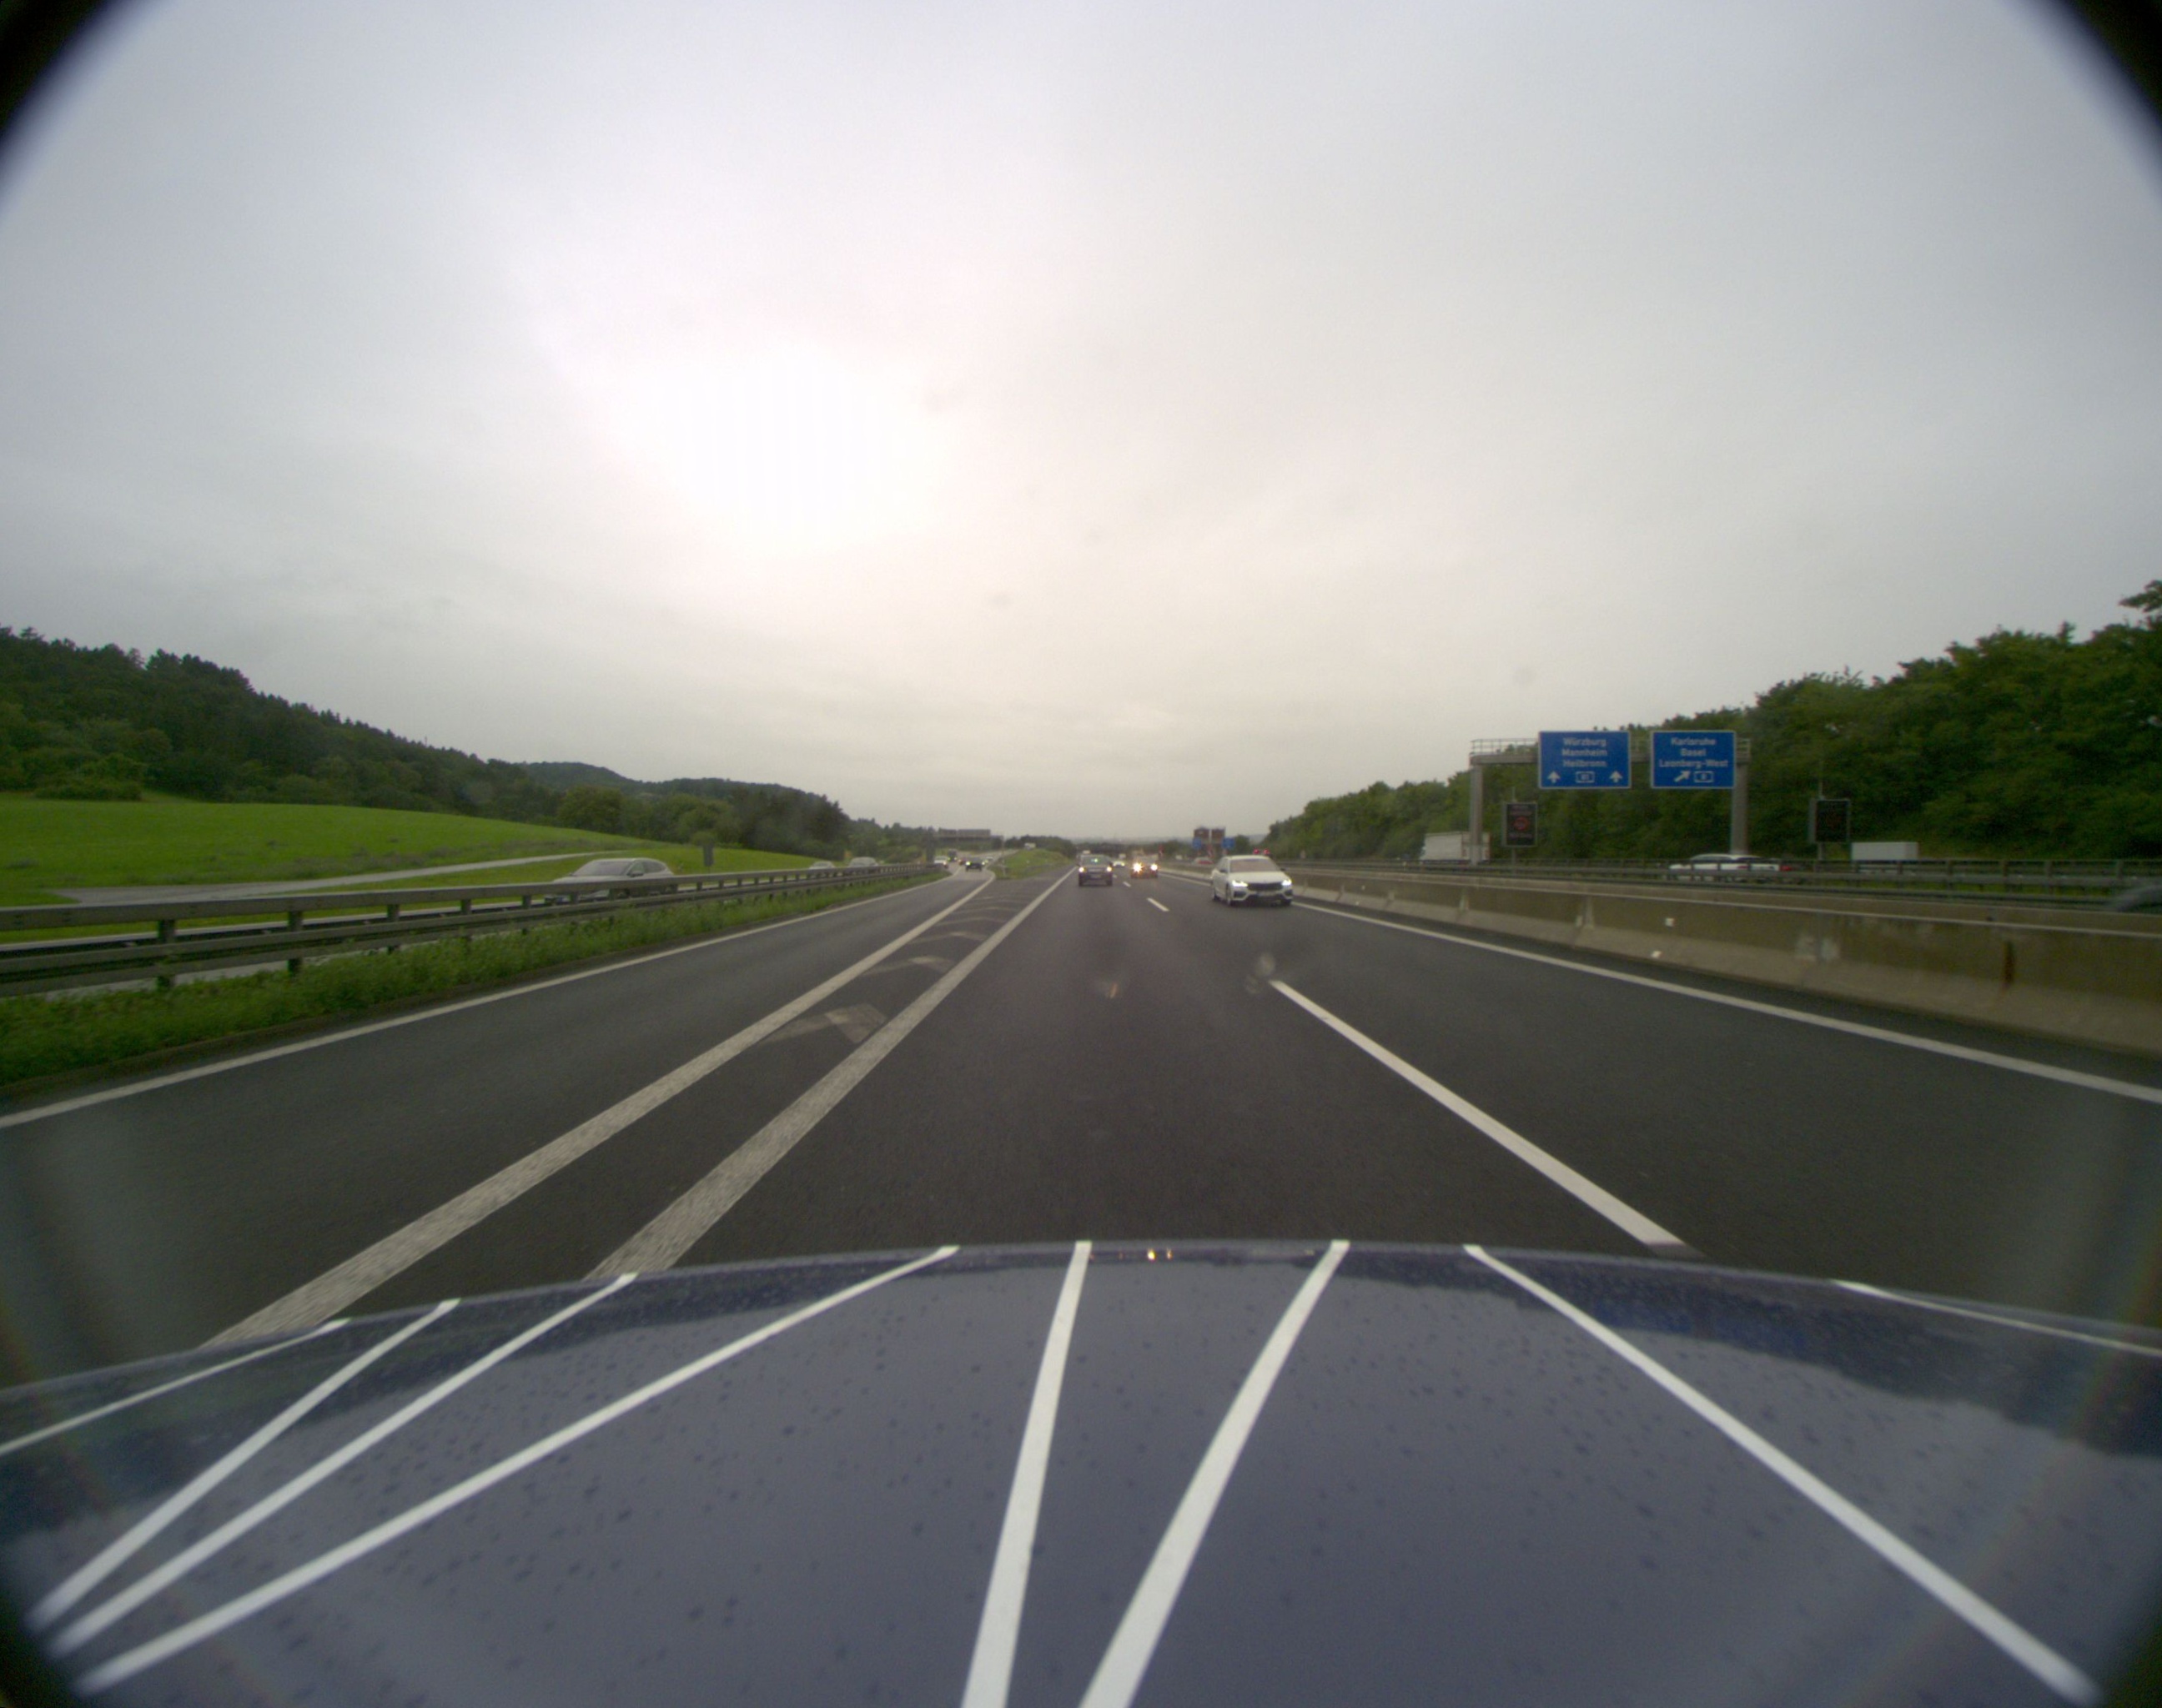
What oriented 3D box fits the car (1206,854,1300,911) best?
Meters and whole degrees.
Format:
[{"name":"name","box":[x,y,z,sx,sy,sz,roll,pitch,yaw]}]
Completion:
[{"name":"car","box":[5.085,0.774,23.133,1.823,1.448,4.777,-2,1,1]}]

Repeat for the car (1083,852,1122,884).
[{"name":"car","box":[1.109,0.730,40.963,1.813,1.571,3.834,-2,1,-2]}]

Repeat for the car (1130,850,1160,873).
[{"name":"car","box":[4.500,0.498,53.954,1.726,1.481,4.566,-2,1,0]}]

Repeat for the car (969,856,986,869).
[{"name":"car","box":[-12.553,1.012,92.011,1.868,1.349,4.563,-2,1,-8]}]

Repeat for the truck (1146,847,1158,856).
[{"name":"truck","box":[18.901,-0.768,203.151,2.582,2.327,7.341,-2,1,1]}]

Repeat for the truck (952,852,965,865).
[{"name":"truck","box":[-38.261,1.234,237.573,2.799,3.878,10.023,-2,1,-4]}]

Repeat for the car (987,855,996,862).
[{"name":"car","box":[-21.634,1.033,183.006,1.914,1.684,4.716,-2,1,-4]}]

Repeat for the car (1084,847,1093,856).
[{"name":"car","box":[1.763,-0.656,181.087,2.016,1.994,4.566,-2,1,-1]}]

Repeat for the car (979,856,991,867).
[{"name":"car","box":[-16.926,1.331,133.909,1.914,1.684,4.716,-2,1,-4]}]

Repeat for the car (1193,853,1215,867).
[{"name":"car","box":[13.718,0.619,84.702,1.760,1.448,4.417,-2,1,1]}]

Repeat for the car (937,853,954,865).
[{"name":"car","box":[-20.300,0.678,113.990,1.914,1.684,4.716,-2,1,-5]}]

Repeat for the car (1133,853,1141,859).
[{"name":"car","box":[15.468,0.483,211.069,1.875,1.672,4.777,-2,1,-1]}]

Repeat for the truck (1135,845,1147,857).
[{"name":"truck","box":[20.640,-0.938,260.233,2.934,3.855,16.088,-2,1,1]}]

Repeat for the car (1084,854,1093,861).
[{"name":"car","box":[1.756,0.852,174.548,1.919,1.481,4.566,-2,1,-1]}]

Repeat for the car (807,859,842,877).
[{"name":"car","box":[-23.650,1.260,70.178,1.904,1.446,4.708,-2,1,-4]}]

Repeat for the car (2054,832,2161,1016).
[{"name":"car","box":[12.896,0.768,6.809,1.998,2.002,4.982,-2,1,1]}]

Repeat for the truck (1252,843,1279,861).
[{"name":"truck","box":[33.930,-0.420,140.246,2.858,3.202,9.078,-2,1,1]}]

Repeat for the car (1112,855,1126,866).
[{"name":"car","box":[5.467,0.945,109.628,1.726,1.481,4.566,-2,1,0]}]

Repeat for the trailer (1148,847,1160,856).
[{"name":"trailer","box":[18.774,-0.695,195.618,2.582,2.327,7.946,-2,1,1]}]

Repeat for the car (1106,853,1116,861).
[{"name":"car","box":[5.909,0.489,149.767,1.726,1.481,4.566,-2,1,-1]}]

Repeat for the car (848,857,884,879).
[{"name":"car","box":[-15.045,0.947,53.343,1.672,1.375,4.124,-2,1,-5]}]

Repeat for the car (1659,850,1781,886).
[{"name":"car","box":[28.727,0.581,34.384,1.680,1.448,4.632,-2,1,1]}]

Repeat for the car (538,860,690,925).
[{"name":"car","box":[-13.656,1.051,22.604,1.774,1.600,4.641,-2,1,-3]}]

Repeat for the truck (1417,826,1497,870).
[{"name":"truck","box":[36.155,-0.615,73.615,3.082,3.856,9.634,-2,1,1]}]

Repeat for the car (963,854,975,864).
[{"name":"car","box":[-23.592,1.097,159.661,2.131,2.002,5.074,-2,1,-5]}]

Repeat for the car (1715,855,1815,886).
[{"name":"car","box":[35.853,0.837,39.968,1.680,1.448,4.000,-2,1,1]}]
